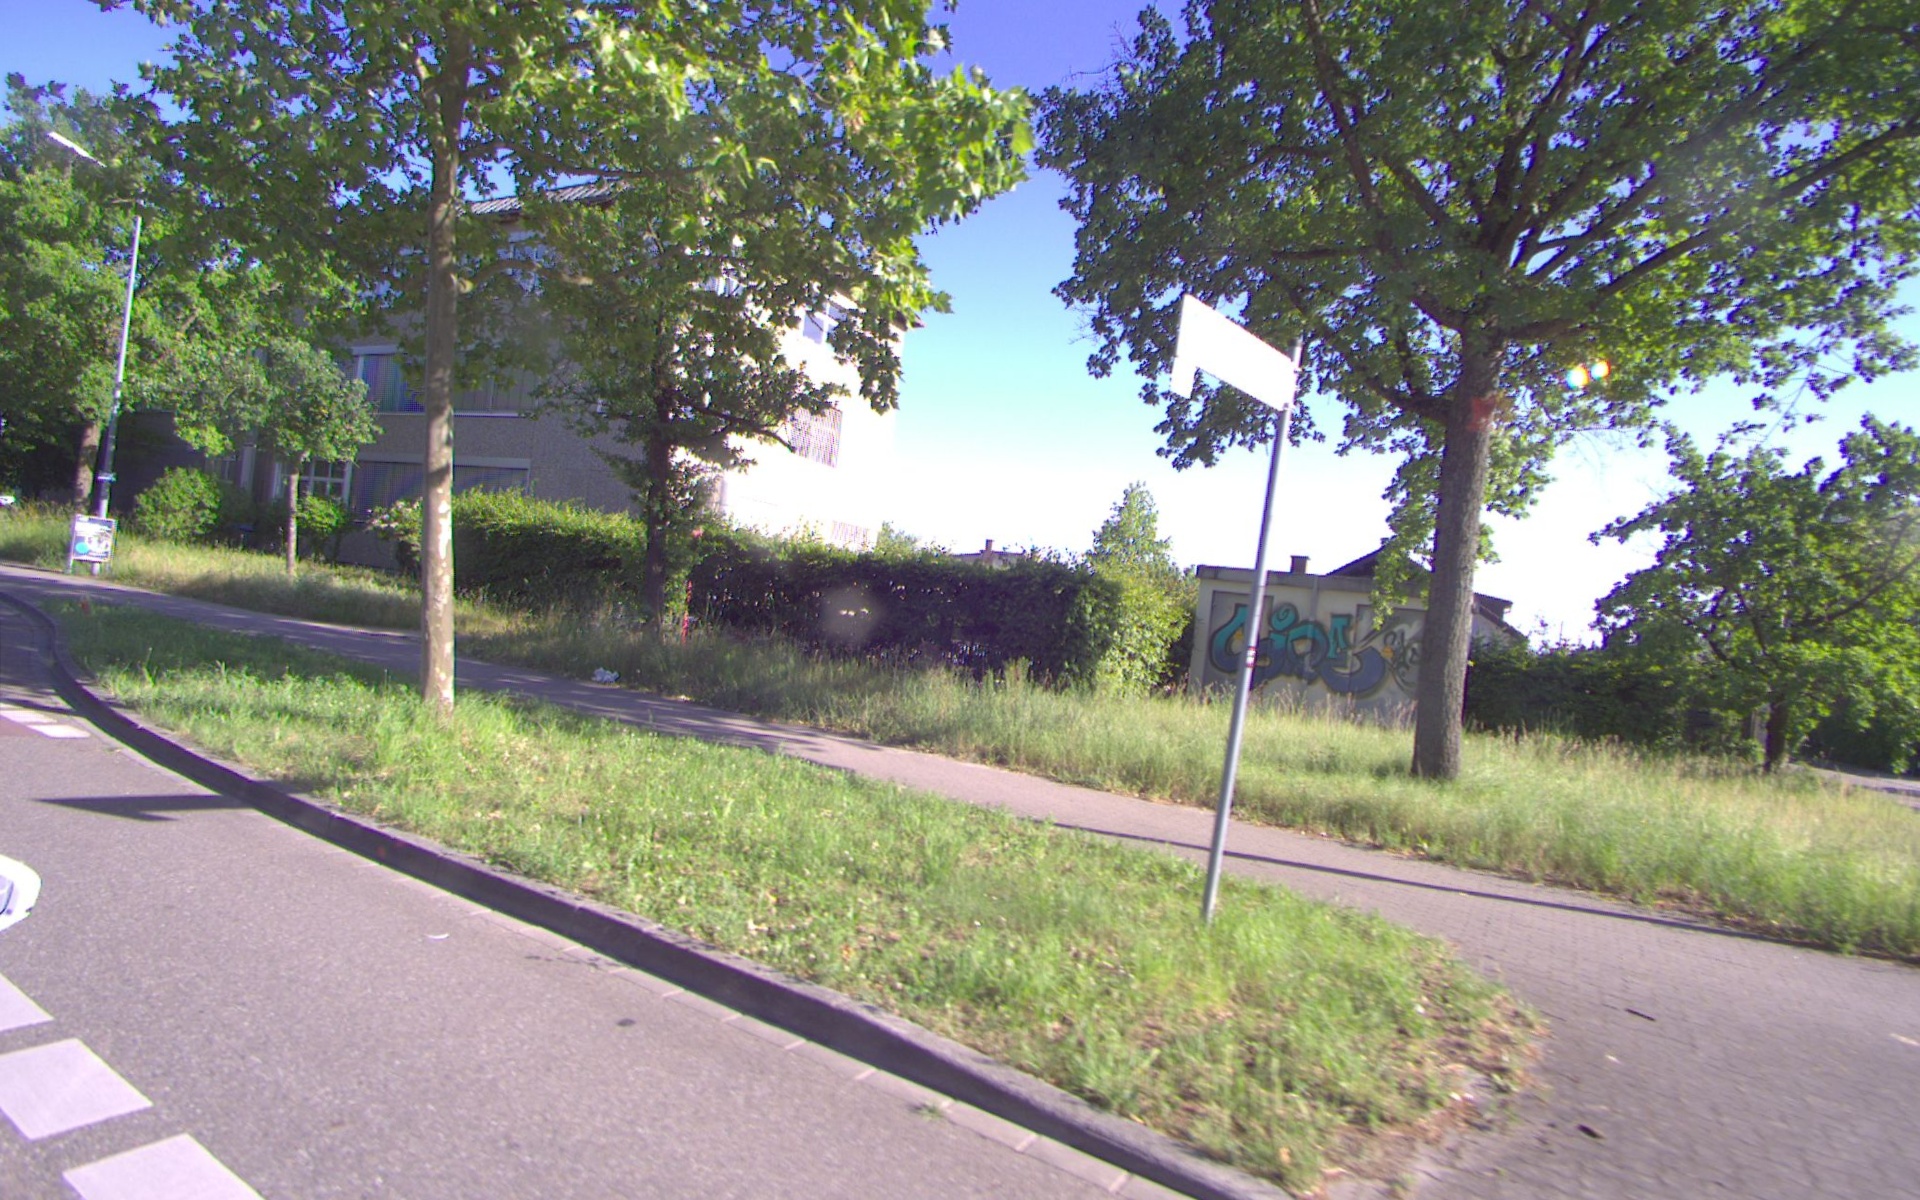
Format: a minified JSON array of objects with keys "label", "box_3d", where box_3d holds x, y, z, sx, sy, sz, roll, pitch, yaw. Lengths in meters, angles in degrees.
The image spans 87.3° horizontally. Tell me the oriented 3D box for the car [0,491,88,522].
[{"label":"car","box_3d":[-70.815,-7.196,77.752,1.965,1.558,4.716,7,-2,26]}]
